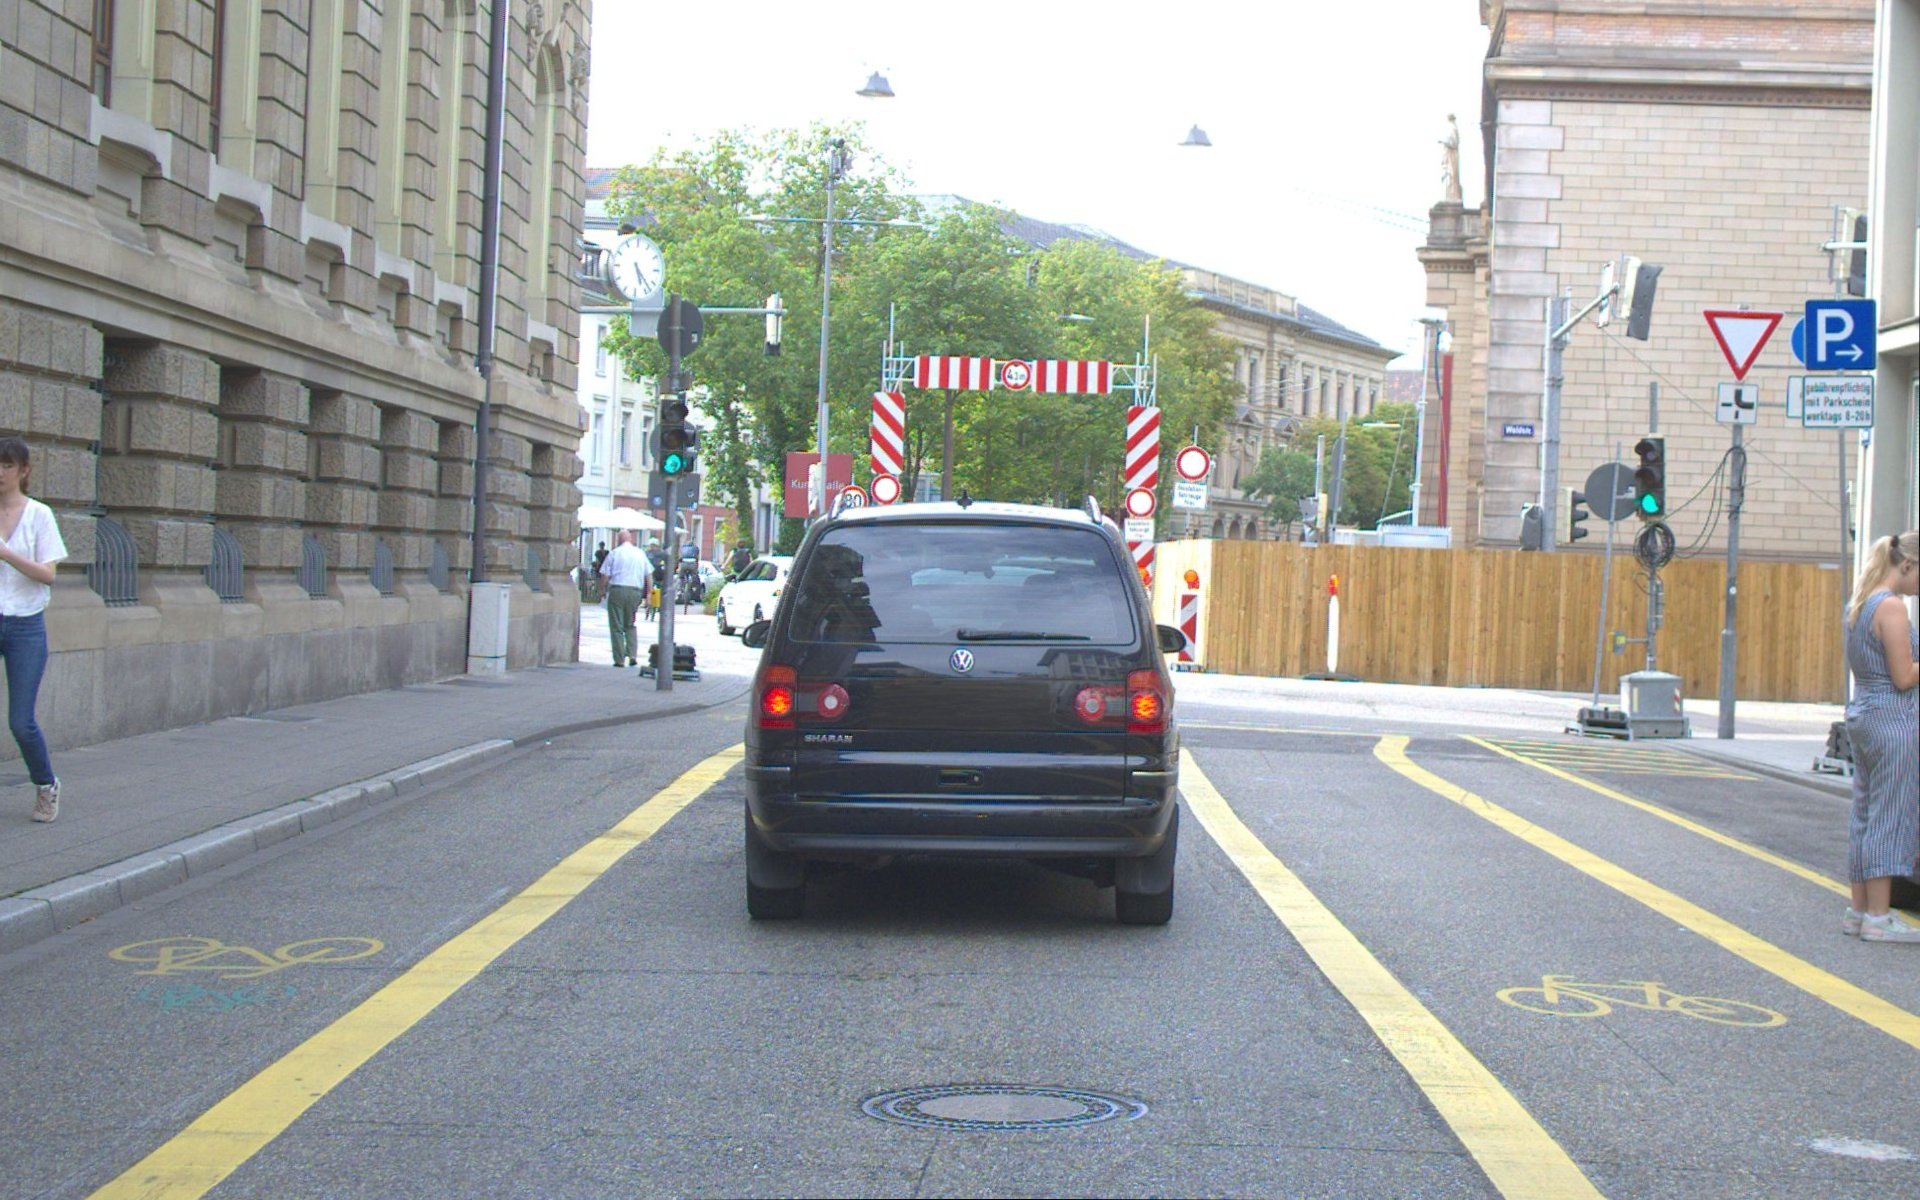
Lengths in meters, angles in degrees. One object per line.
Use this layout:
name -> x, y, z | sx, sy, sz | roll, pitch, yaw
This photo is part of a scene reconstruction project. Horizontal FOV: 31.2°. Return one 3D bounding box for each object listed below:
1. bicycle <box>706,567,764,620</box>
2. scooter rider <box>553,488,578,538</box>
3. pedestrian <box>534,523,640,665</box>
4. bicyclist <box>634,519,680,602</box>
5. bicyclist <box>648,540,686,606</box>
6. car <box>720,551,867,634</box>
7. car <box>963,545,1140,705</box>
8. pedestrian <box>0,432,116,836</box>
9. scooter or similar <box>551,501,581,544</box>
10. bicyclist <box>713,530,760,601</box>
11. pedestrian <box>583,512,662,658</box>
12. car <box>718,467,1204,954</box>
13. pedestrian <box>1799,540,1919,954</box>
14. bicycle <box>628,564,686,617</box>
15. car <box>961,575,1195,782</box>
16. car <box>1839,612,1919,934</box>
bicycle -> -4.439, -0.135, 67.726 | 0.735, 1.005, 2.069 | 2, 0, -15
scooter rider -> -12.072, -2.663, 105.210 | 0.599, 1.485, 0.679 | 2, 0, 4
pedestrian -> -5.004, -0.078, 46.091 | 1.047, 1.813, 0.793 | 4, 0, 37
bicyclist -> -5.957, -0.775, 67.626 | 0.735, 1.606, 0.695 | 2, 0, -16
bicyclist -> -6.590, -0.612, 77.303 | 0.735, 1.465, 0.809 | 2, 0, -11
car -> -2.847, -0.140, 58.062 | 1.649, 1.317, 3.676 | 2, 0, -16
car -> 0.951, 0.249, 37.316 | 1.773, 1.580, 4.000 | 2, 0, 0
pedestrian -> -4.463, 0.137, 16.053 | 0.664, 1.813, 1.048 | 4, 0, 0
scooter or similar -> -12.068, -2.374, 105.245 | 0.599, 1.251, 1.552 | 2, 0, 4
bicyclist -> -4.392, -0.674, 67.623 | 0.735, 1.371, 0.832 | 2, 0, -15
pedestrian -> -4.340, -0.188, 44.307 | 0.792, 1.813, 1.048 | 4, 0, 0
car -> 0.118, 0.412, 15.176 | 1.790, 1.784, 4.103 | 2, 0, 3
pedestrian -> 4.098, 0.631, 15.056 | 0.698, 1.758, 0.705 | 2, 0, 7
bicycle -> -5.968, -0.193, 67.599 | 0.735, 1.005, 2.069 | 2, 0, -16
car -> 0.889, 0.572, 27.518 | 1.678, 1.464, 4.103 | 2, 0, 0
car -> 5.157, 0.823, 15.207 | 1.680, 1.430, 3.886 | 3, 0, 3
